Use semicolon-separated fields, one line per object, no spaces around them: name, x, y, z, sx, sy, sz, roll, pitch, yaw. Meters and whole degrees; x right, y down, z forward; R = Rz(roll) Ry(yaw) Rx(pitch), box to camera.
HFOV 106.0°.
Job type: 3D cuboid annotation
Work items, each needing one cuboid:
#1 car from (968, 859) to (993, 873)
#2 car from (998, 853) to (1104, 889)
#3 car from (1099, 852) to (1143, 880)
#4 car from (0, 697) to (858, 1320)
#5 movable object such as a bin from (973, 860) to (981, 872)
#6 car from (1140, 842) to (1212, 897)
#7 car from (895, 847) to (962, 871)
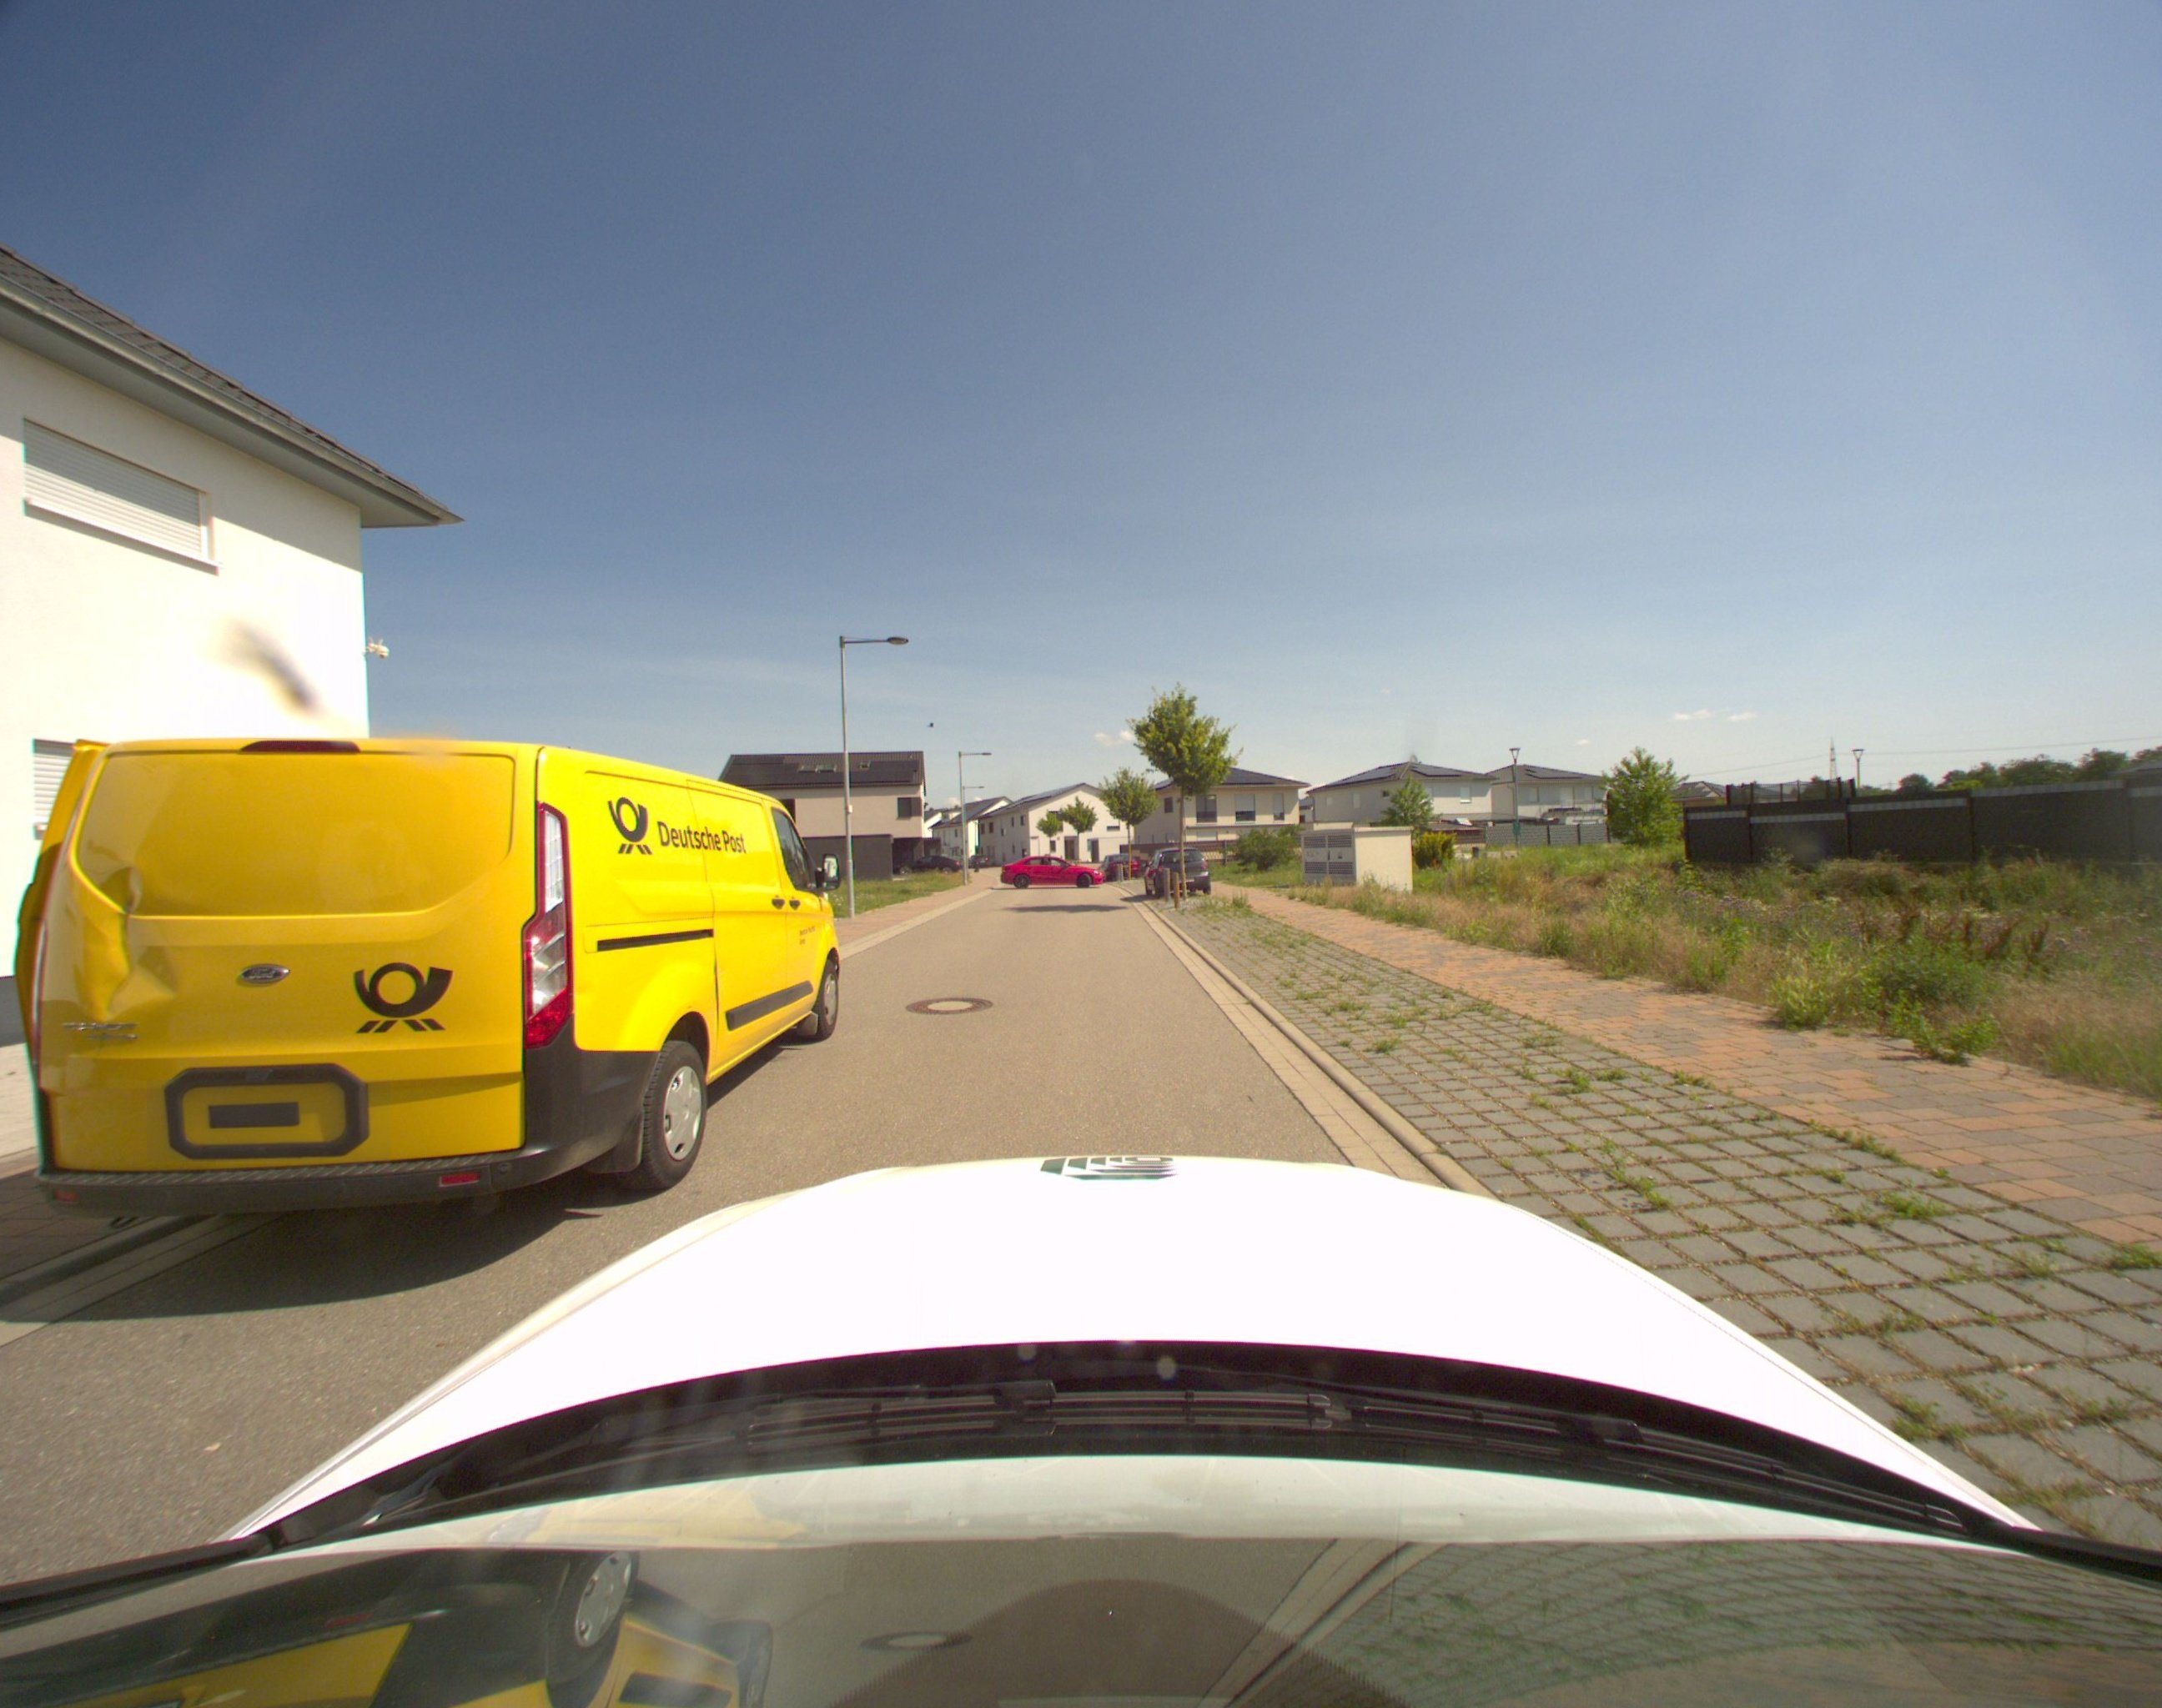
car;-10.603;1.280;86.034;1.733;1.422;3.973;-3;0;-20
car;-1.357;0.704;35.717;4.500;1.438;1.764;-1;0;-7
car;2.095;0.606;43.881;1.752;1.363;4.567;-1;0;-5
car;-2.871;0.486;5.121;1.880;2.013;4.834;-1;0;-4
movable object such as a bin;-8.405;0.961;65.989;0.533;0.936;0.526;-1;0;0
car;2.837;0.435;24.934;1.594;1.475;3.673;-4;0;-1
car;-10.368;0.358;55.543;4.374;1.631;1.765;0;0;-9
